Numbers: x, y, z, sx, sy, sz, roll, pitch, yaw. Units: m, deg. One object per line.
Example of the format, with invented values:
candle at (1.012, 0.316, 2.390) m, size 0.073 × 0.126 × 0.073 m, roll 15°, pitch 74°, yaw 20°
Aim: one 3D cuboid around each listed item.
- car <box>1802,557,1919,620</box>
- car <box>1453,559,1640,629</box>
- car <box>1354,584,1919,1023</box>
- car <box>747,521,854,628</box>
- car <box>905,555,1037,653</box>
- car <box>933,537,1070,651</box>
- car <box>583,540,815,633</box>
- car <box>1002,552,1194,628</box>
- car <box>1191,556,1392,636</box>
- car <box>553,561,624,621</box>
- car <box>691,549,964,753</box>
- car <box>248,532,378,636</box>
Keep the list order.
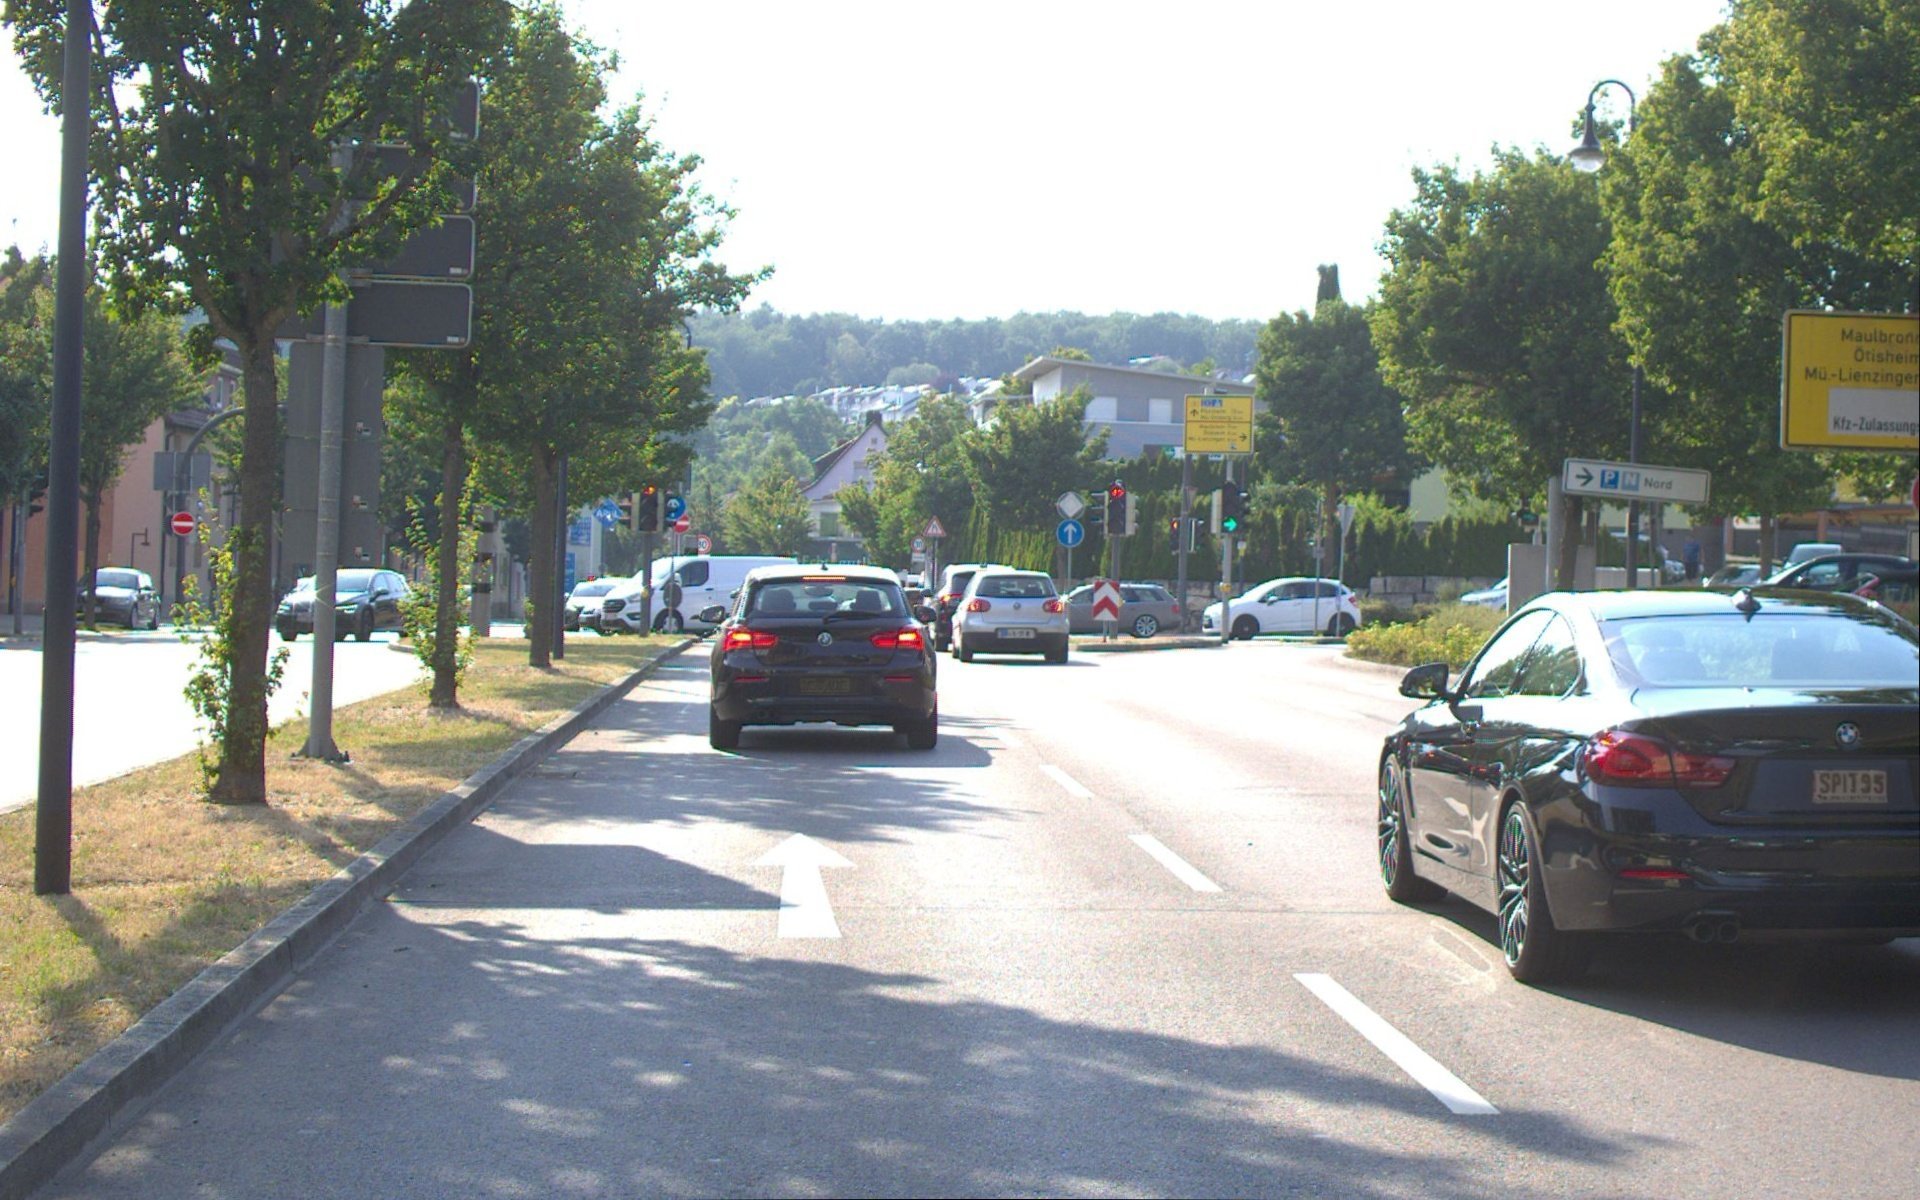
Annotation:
car at (27.778, -0.341, 102.846) m, size 4.630 × 1.823 × 2.000 m, roll 0°, pitch 1°, yaw -5°
car at (15.889, -0.168, 93.277) m, size 4.630 × 1.823 × 2.000 m, roll 0°, pitch 1°, yaw -5°
car at (2.801, 0.641, 13.129) m, size 1.920 × 1.359 × 4.353 m, roll 0°, pitch 1°, yaw -2°
car at (-2.759, -0.451, 59.093) m, size 1.756 × 1.763 × 3.971 m, roll 0°, pitch 1°, yaw -3°
car at (0.168, 0.050, 65.236) m, size 2.216 × 1.763 × 4.455 m, roll 0°, pitch 1°, yaw -3°
car at (0.636, -0.134, 56.119) m, size 1.925 × 1.763 × 4.455 m, roll 0°, pitch 1°, yaw -3°
car at (-6.156, -0.337, 81.446) m, size 5.109 × 2.122 × 2.146 m, roll 0°, pitch 1°, yaw -37°
car at (3.627, -0.277, 91.119) m, size 4.947 × 1.922 × 2.147 m, roll 1°, pitch 1°, yaw -1°
car at (8.268, -0.101, 85.896) m, size 4.533 × 1.922 × 2.147 m, roll 0°, pitch 1°, yaw -14°
car at (-10.761, -0.285, 99.752) m, size 1.730 × 1.673 × 4.000 m, roll 0°, pitch 1°, yaw -1°
car at (-0.989, 0.349, 27.915) m, size 1.721 × 1.485 × 4.352 m, roll 1°, pitch 1°, yaw 4°
car at (-13.065, -0.367, 69.695) m, size 2.139 × 2.002 × 5.126 m, roll 1°, pitch 1°, yaw -6°
